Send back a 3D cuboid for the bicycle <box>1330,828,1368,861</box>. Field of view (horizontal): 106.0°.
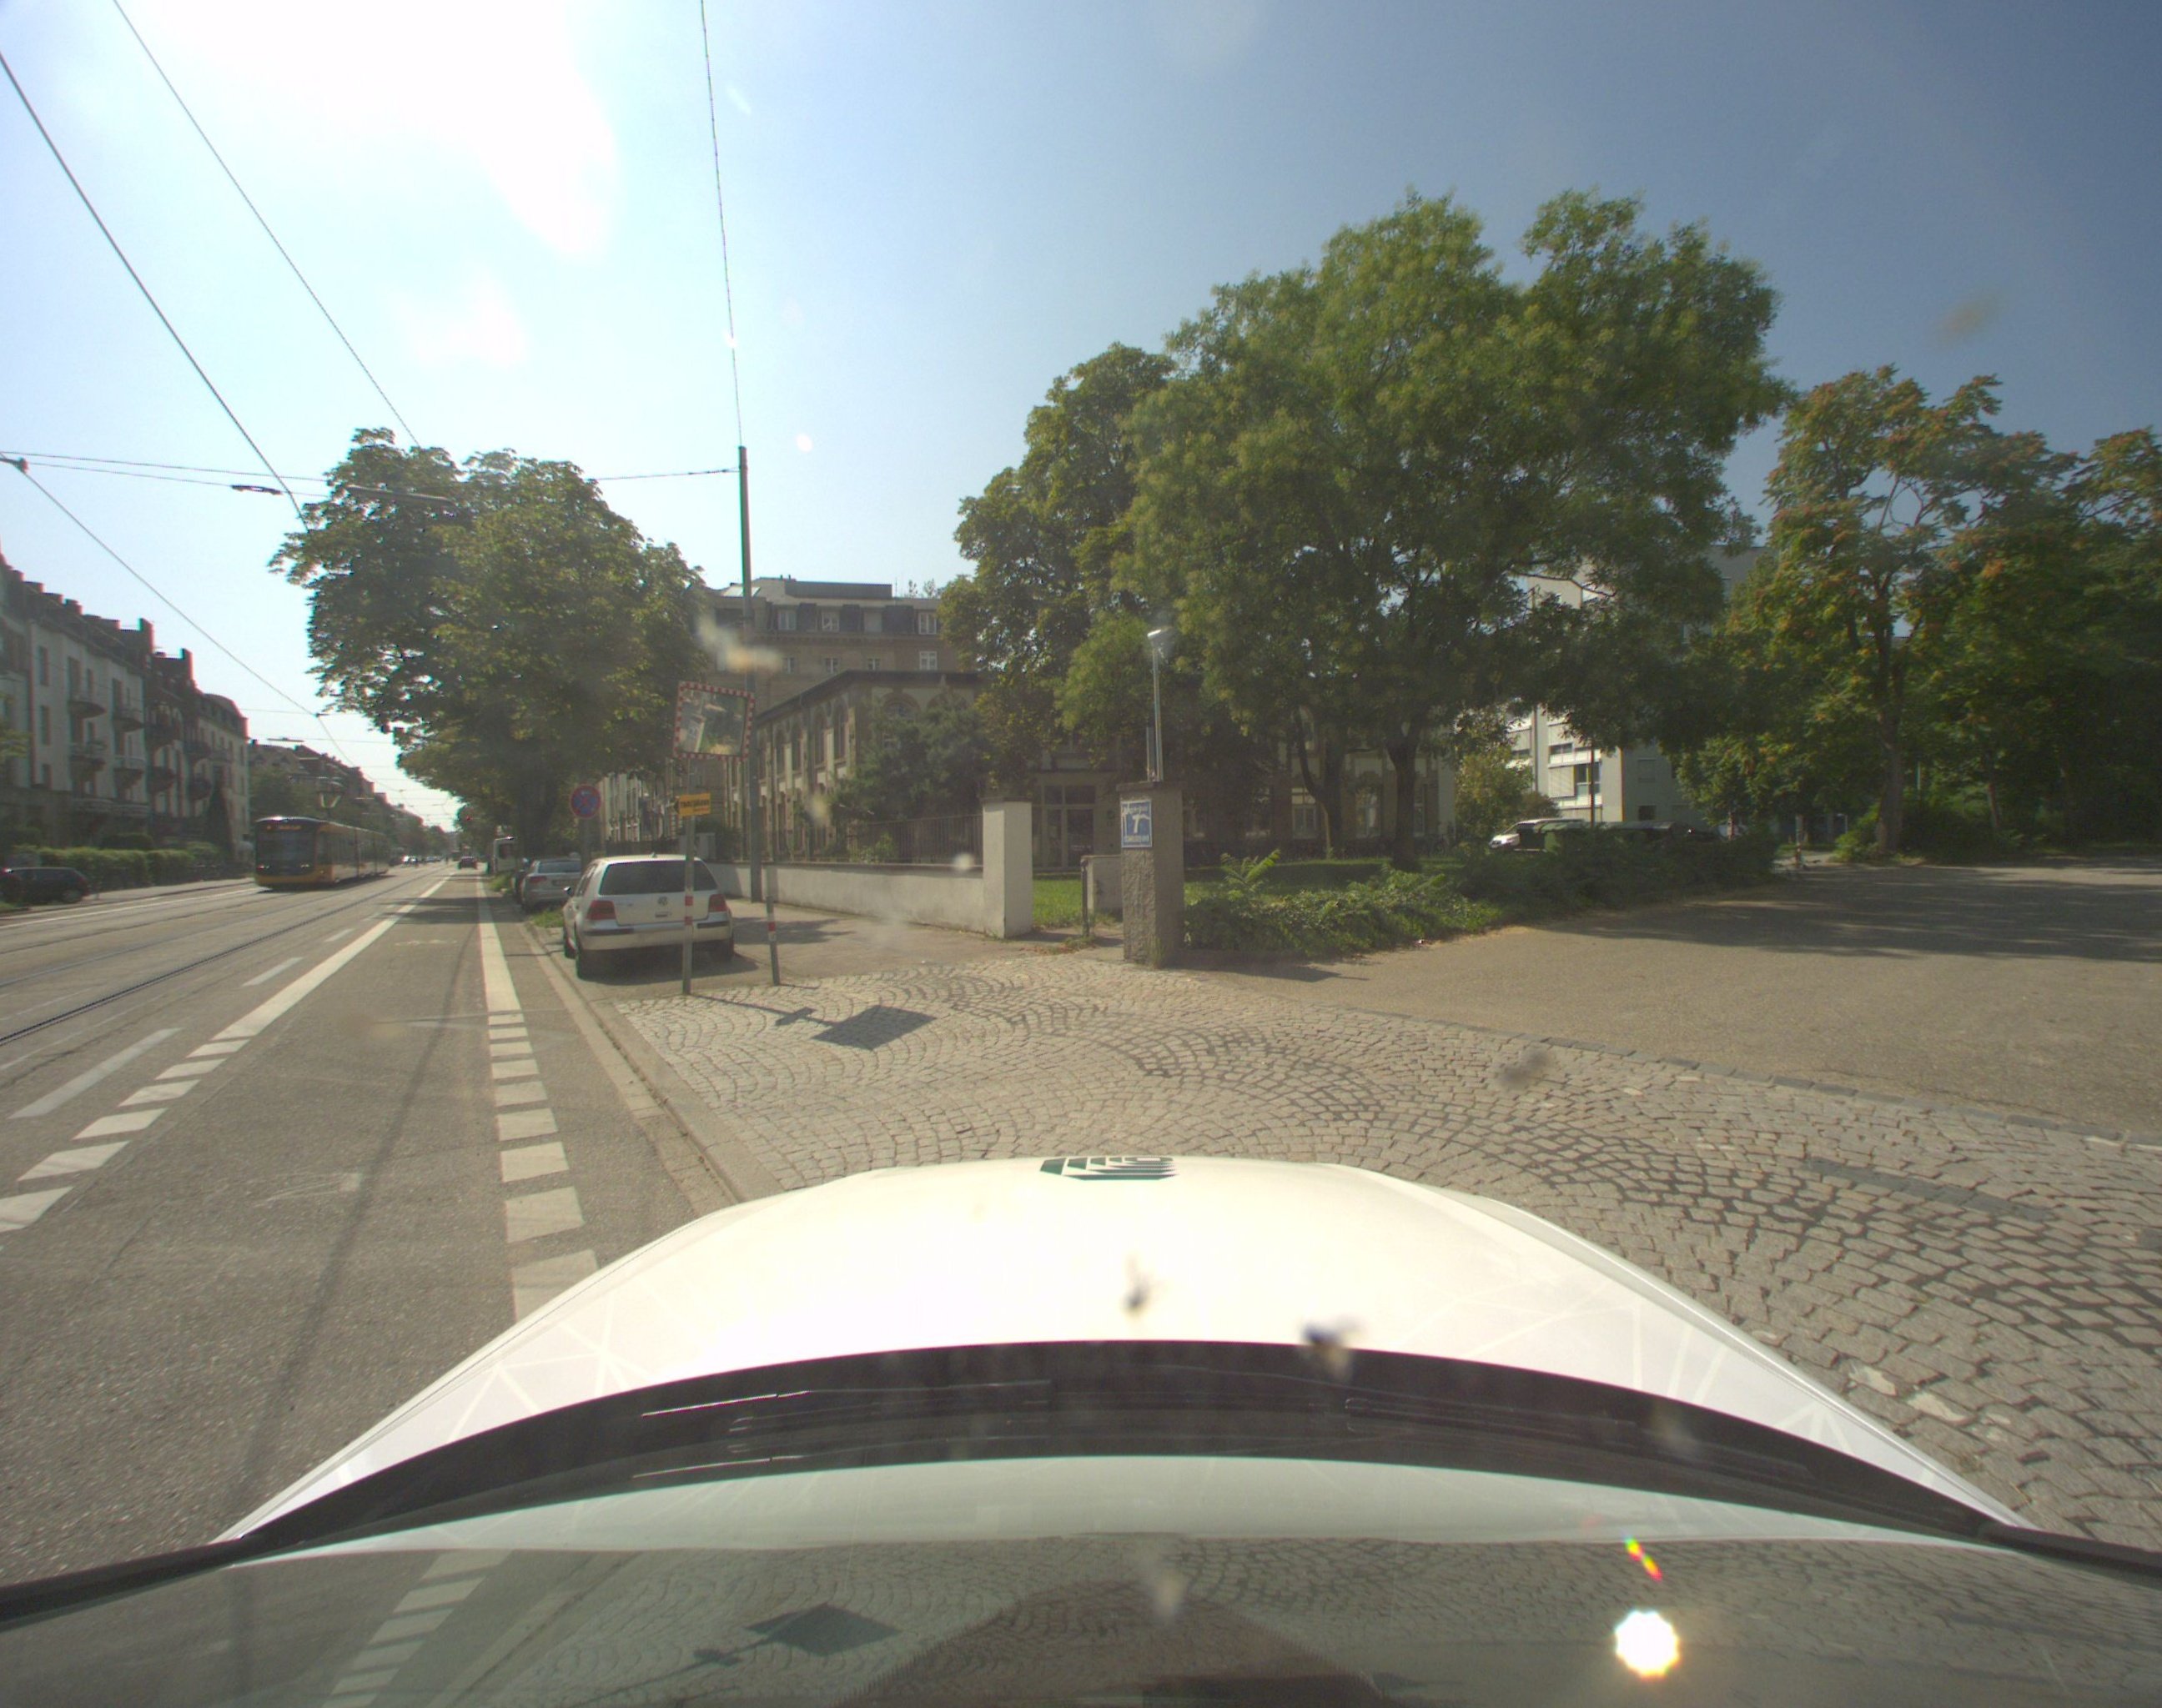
[{"bbox_3d":[10.908,-0.384,33.195,0.606,1.302,2.169,-1,0,-5],"label":"bicycle"}]

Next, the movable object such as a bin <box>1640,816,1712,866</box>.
[{"bbox_3d":[18.631,-0.415,25.523,1.337,1.493,1.362,-2,2,-24],"label":"movable object such as a bin"}]

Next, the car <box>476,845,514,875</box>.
[{"bbox_3d":[-46.744,0.487,64.896,2.011,2.233,3.952,-2,1,-41],"label":"car"}]

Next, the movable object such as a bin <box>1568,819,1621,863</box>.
[{"bbox_3d":[17.777,-0.465,28.207,1.100,1.481,1.096,-1,1,-15],"label":"movable object such as a bin"}]

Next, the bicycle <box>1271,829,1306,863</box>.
[{"bbox_3d":[8.353,-0.319,32.865,0.624,1.302,2.268,-1,0,-5],"label":"bicycle"}]

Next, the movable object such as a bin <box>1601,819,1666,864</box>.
[{"bbox_3d":[18.367,-0.425,27.091,1.248,1.431,1.325,-1,1,-16],"label":"movable object such as a bin"}]

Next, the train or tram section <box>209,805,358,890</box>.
[{"bbox_3d":[-40.126,-0.343,41.540,3.524,3.704,12.277,-1,1,-36],"label":"train or tram section"}]

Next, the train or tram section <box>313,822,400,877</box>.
[{"bbox_3d":[-54.397,-0.362,61.512,3.524,3.704,12.277,-1,1,-36],"label":"train or tram section"}]

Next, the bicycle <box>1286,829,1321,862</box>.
[{"bbox_3d":[9.001,-0.339,32.989,0.606,1.302,2.169,-1,0,-5],"label":"bicycle"}]

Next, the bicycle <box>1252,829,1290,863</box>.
[{"bbox_3d":[7.593,-0.297,32.687,0.768,1.302,2.268,-1,0,-6],"label":"bicycle"}]

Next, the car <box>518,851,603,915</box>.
[{"bbox_3d":[-13.924,0.724,21.700,1.653,1.511,3.601,-1,0,-36],"label":"car"}]

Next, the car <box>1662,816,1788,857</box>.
[{"bbox_3d":[26.240,-0.720,33.244,3.891,1.527,1.705,-2,1,-4],"label":"car"}]

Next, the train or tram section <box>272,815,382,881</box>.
[{"bbox_3d":[-47.261,-0.375,51.504,3.524,3.704,12.277,-1,1,-36],"label":"train or tram section"}]

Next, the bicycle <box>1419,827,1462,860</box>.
[{"bbox_3d":[14.943,-0.438,33.900,0.606,1.302,2.169,-1,0,-5],"label":"bicycle"}]

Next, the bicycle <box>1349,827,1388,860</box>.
[{"bbox_3d":[11.761,-0.416,33.355,0.606,1.302,2.169,-1,0,-5],"label":"bicycle"}]

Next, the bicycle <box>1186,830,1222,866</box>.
[{"bbox_3d":[4.792,-0.227,31.851,0.768,1.302,2.521,-1,0,-6],"label":"bicycle"}]

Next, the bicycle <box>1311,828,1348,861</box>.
[{"bbox_3d":[10.127,-0.364,33.271,0.606,1.302,2.169,-1,0,-5],"label":"bicycle"}]

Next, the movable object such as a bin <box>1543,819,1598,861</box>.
[{"bbox_3d":[17.826,-0.521,29.672,1.248,1.495,1.201,-1,1,-15],"label":"movable object such as a bin"}]

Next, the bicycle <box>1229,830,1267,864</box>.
[{"bbox_3d":[6.644,-0.270,32.534,0.768,1.302,2.521,-1,0,-6],"label":"bicycle"}]

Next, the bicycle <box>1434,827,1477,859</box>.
[{"bbox_3d":[15.622,-0.447,34.006,0.606,1.302,2.169,-1,0,-5],"label":"bicycle"}]

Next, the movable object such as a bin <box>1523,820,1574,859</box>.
[{"bbox_3d":[18.045,-0.557,31.454,1.248,1.444,1.201,-1,1,-15],"label":"movable object such as a bin"}]

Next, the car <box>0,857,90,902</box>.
[{"bbox_3d":[-39.584,0.956,29.946,1.660,1.574,3.599,-1,0,12],"label":"car"}]

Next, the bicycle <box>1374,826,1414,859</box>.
[{"bbox_3d":[12.856,-0.444,33.467,0.606,1.302,2.169,-1,0,-5],"label":"bicycle"}]

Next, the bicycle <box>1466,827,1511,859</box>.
[{"bbox_3d":[17.141,-0.457,34.328,0.606,1.302,2.169,-1,0,-5],"label":"bicycle"}]

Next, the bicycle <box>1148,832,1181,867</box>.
[{"bbox_3d":[3.207,-0.177,31.622,0.768,1.302,2.521,-1,0,-6],"label":"bicycle"}]

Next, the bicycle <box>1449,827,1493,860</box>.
[{"bbox_3d":[16.298,-0.435,34.098,0.606,1.302,2.169,-1,0,-5],"label":"bicycle"}]

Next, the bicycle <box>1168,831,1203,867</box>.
[{"bbox_3d":[4.016,-0.193,31.590,0.768,1.302,2.521,-1,0,-6],"label":"bicycle"}]

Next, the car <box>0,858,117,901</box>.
[{"bbox_3d":[-41.492,0.995,32.431,1.660,1.574,3.599,-1,0,12],"label":"car"}]

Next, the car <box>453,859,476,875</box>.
[{"bbox_3d":[-72.047,1.546,95.250,2.009,1.801,3.956,-1,0,-36],"label":"car"}]

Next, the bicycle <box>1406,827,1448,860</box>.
[{"bbox_3d":[14.279,-0.433,33.704,0.606,1.302,2.169,-1,0,-5],"label":"bicycle"}]

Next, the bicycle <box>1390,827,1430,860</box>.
[{"bbox_3d":[13.592,-0.436,33.716,0.606,1.302,2.169,-1,0,-5],"label":"bicycle"}]

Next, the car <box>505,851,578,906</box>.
[{"bbox_3d":[-17.395,0.729,26.234,1.808,1.577,3.957,-2,1,-35],"label":"car"}]

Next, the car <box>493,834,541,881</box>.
[{"bbox_3d":[-30.286,0.179,43.672,2.009,2.365,3.956,-1,0,-36],"label":"car"}]

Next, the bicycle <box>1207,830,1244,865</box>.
[{"bbox_3d":[5.671,-0.247,32.093,0.768,1.302,2.521,-1,0,-6],"label":"bicycle"}]

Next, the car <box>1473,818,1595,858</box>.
[{"bbox_3d":[23.447,-0.822,42.289,5.063,1.881,2.496,-2,1,-7],"label":"car"}]

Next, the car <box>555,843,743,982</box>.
[{"bbox_3d":[-5.935,0.646,10.971,1.805,1.445,3.693,-3,1,-34],"label":"car"}]
